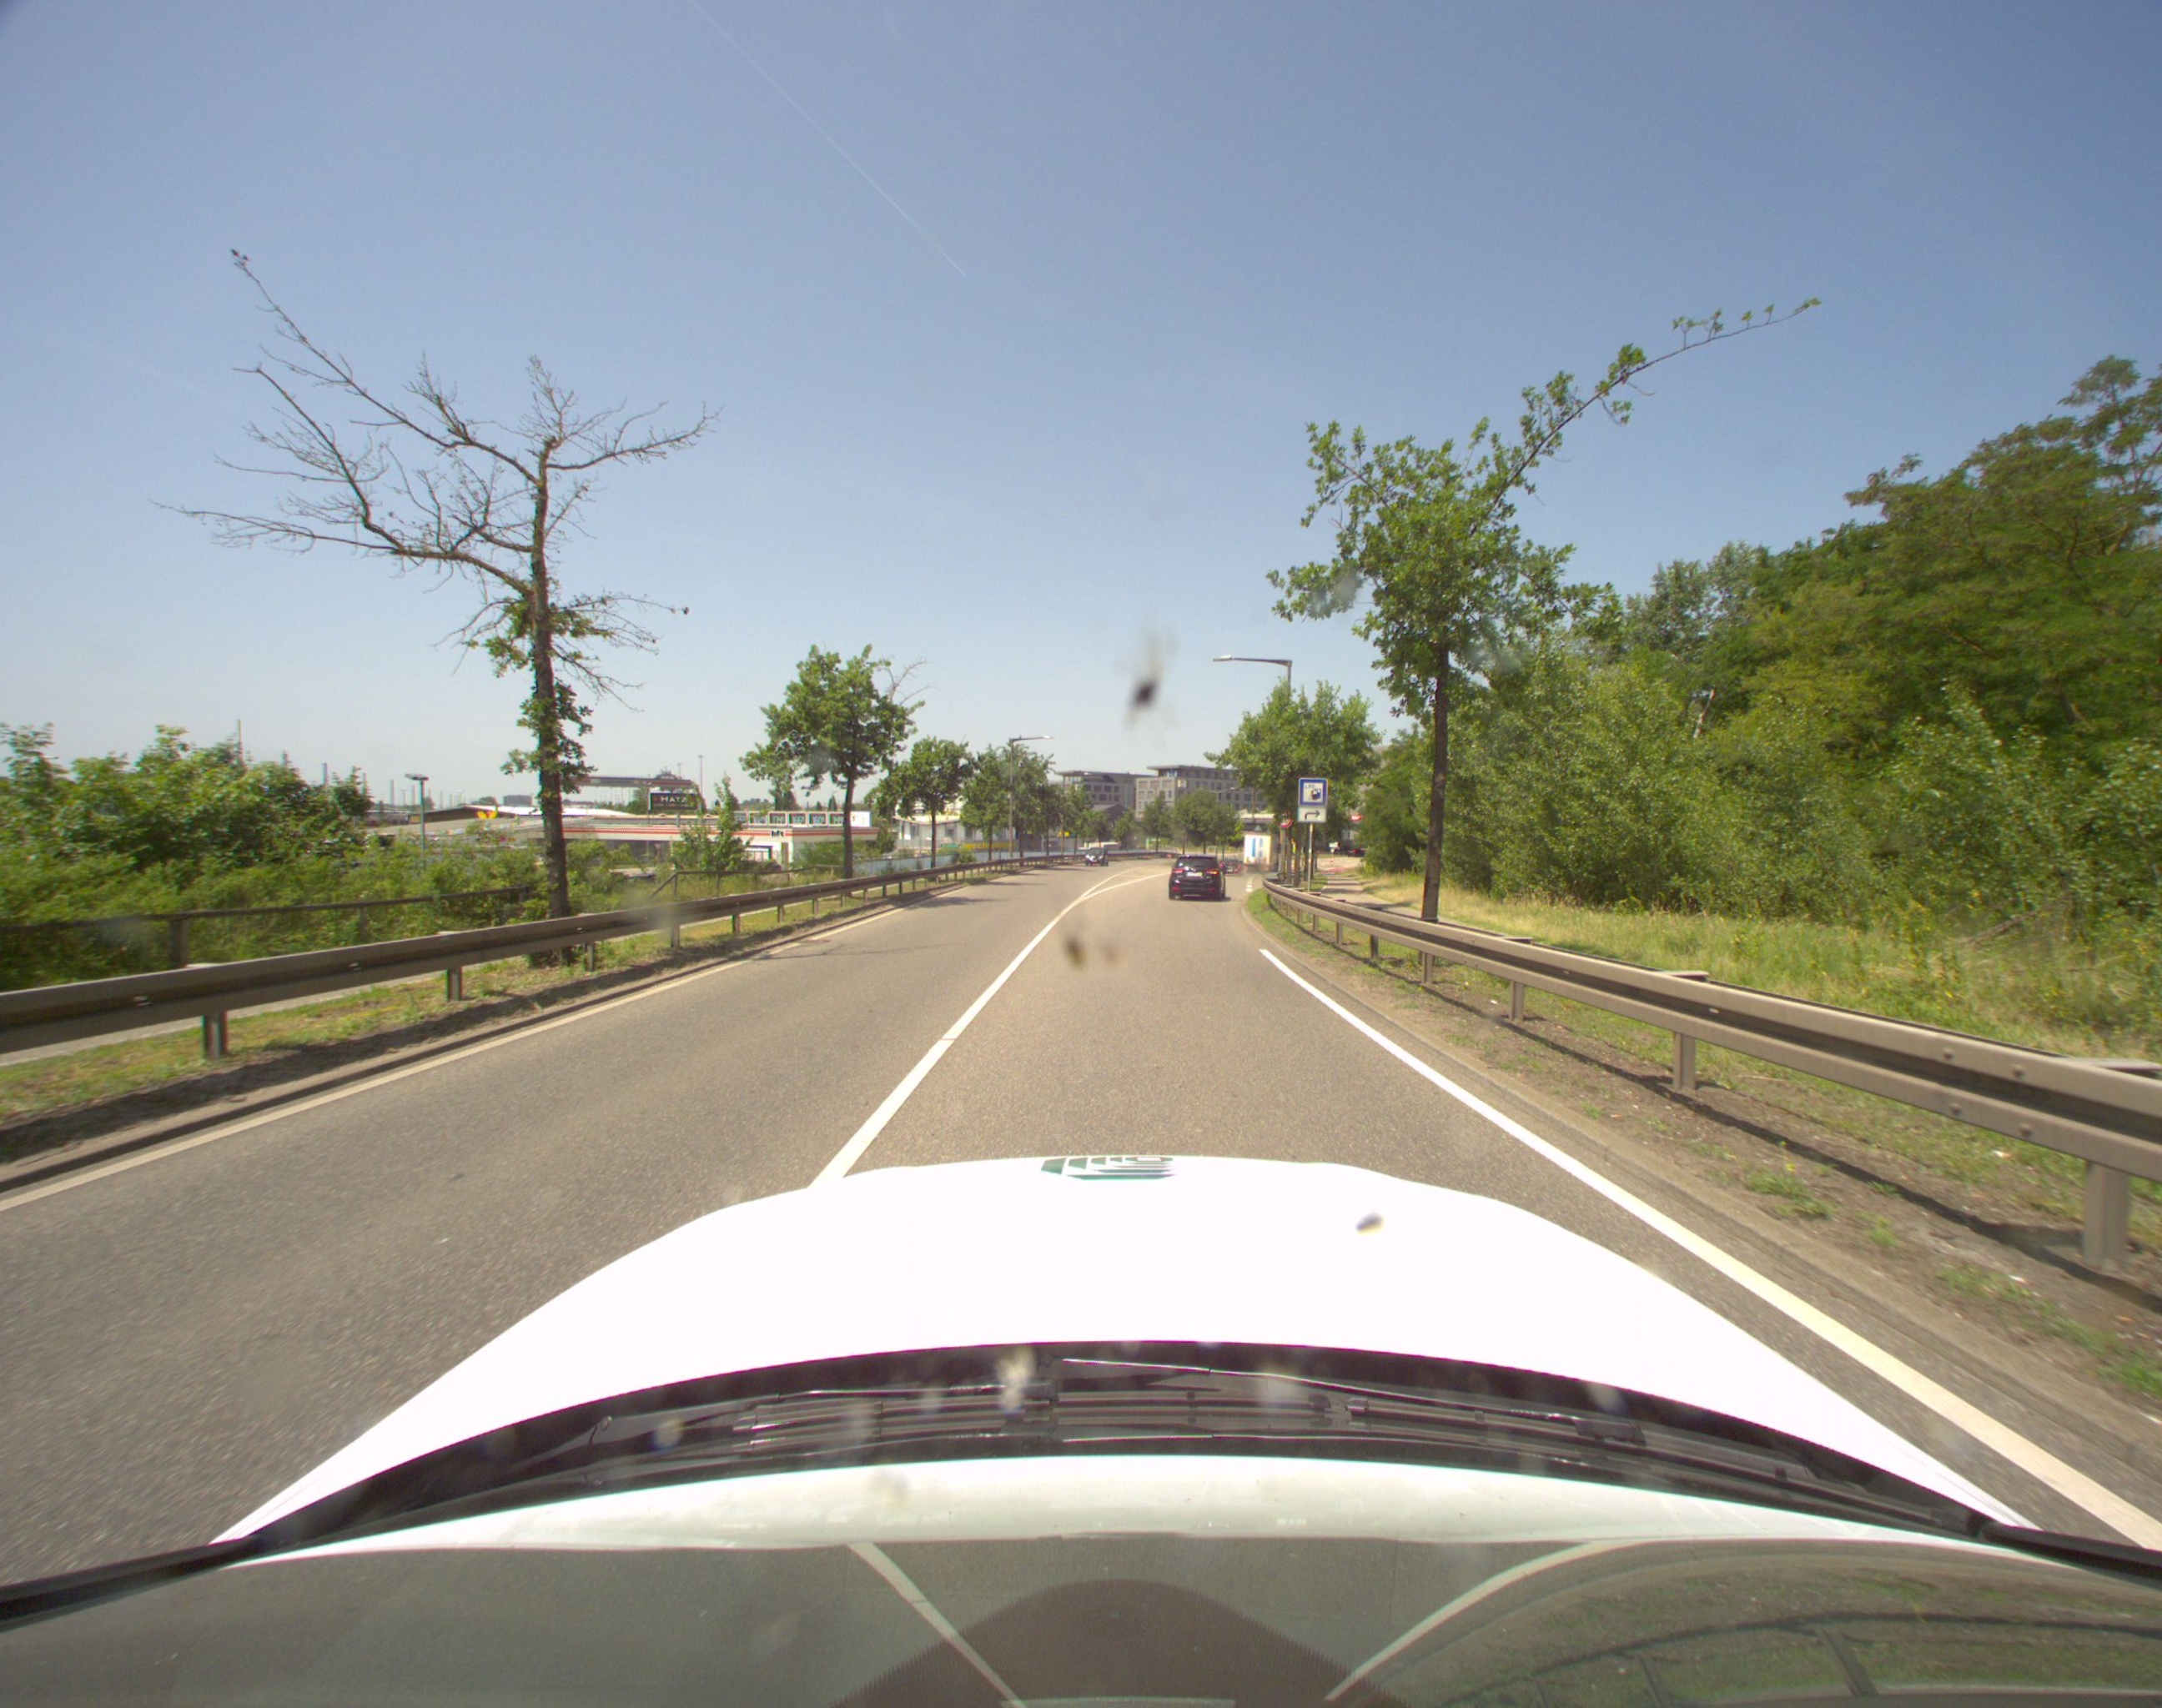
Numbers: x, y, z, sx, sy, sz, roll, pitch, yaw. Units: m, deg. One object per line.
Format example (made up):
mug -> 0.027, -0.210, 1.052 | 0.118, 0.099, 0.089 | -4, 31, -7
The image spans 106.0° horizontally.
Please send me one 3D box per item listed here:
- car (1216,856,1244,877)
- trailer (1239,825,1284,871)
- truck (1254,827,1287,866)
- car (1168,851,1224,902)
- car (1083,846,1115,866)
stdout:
car -> 12.134, 0.960, 66.065 | 1.943, 1.633, 4.296 | 0, 0, 14
trailer -> 19.362, -0.767, 86.482 | 3.053, 4.367, 14.846 | 1, 2, 19
truck -> 21.997, -0.952, 94.350 | 3.051, 4.367, 6.108 | 1, 2, 18
car -> 4.154, 0.740, 28.884 | 1.756, 1.599, 4.089 | 2, 0, 10
car -> 1.760, 0.189, 77.850 | 1.793, 1.759, 4.271 | 2, 0, 18
